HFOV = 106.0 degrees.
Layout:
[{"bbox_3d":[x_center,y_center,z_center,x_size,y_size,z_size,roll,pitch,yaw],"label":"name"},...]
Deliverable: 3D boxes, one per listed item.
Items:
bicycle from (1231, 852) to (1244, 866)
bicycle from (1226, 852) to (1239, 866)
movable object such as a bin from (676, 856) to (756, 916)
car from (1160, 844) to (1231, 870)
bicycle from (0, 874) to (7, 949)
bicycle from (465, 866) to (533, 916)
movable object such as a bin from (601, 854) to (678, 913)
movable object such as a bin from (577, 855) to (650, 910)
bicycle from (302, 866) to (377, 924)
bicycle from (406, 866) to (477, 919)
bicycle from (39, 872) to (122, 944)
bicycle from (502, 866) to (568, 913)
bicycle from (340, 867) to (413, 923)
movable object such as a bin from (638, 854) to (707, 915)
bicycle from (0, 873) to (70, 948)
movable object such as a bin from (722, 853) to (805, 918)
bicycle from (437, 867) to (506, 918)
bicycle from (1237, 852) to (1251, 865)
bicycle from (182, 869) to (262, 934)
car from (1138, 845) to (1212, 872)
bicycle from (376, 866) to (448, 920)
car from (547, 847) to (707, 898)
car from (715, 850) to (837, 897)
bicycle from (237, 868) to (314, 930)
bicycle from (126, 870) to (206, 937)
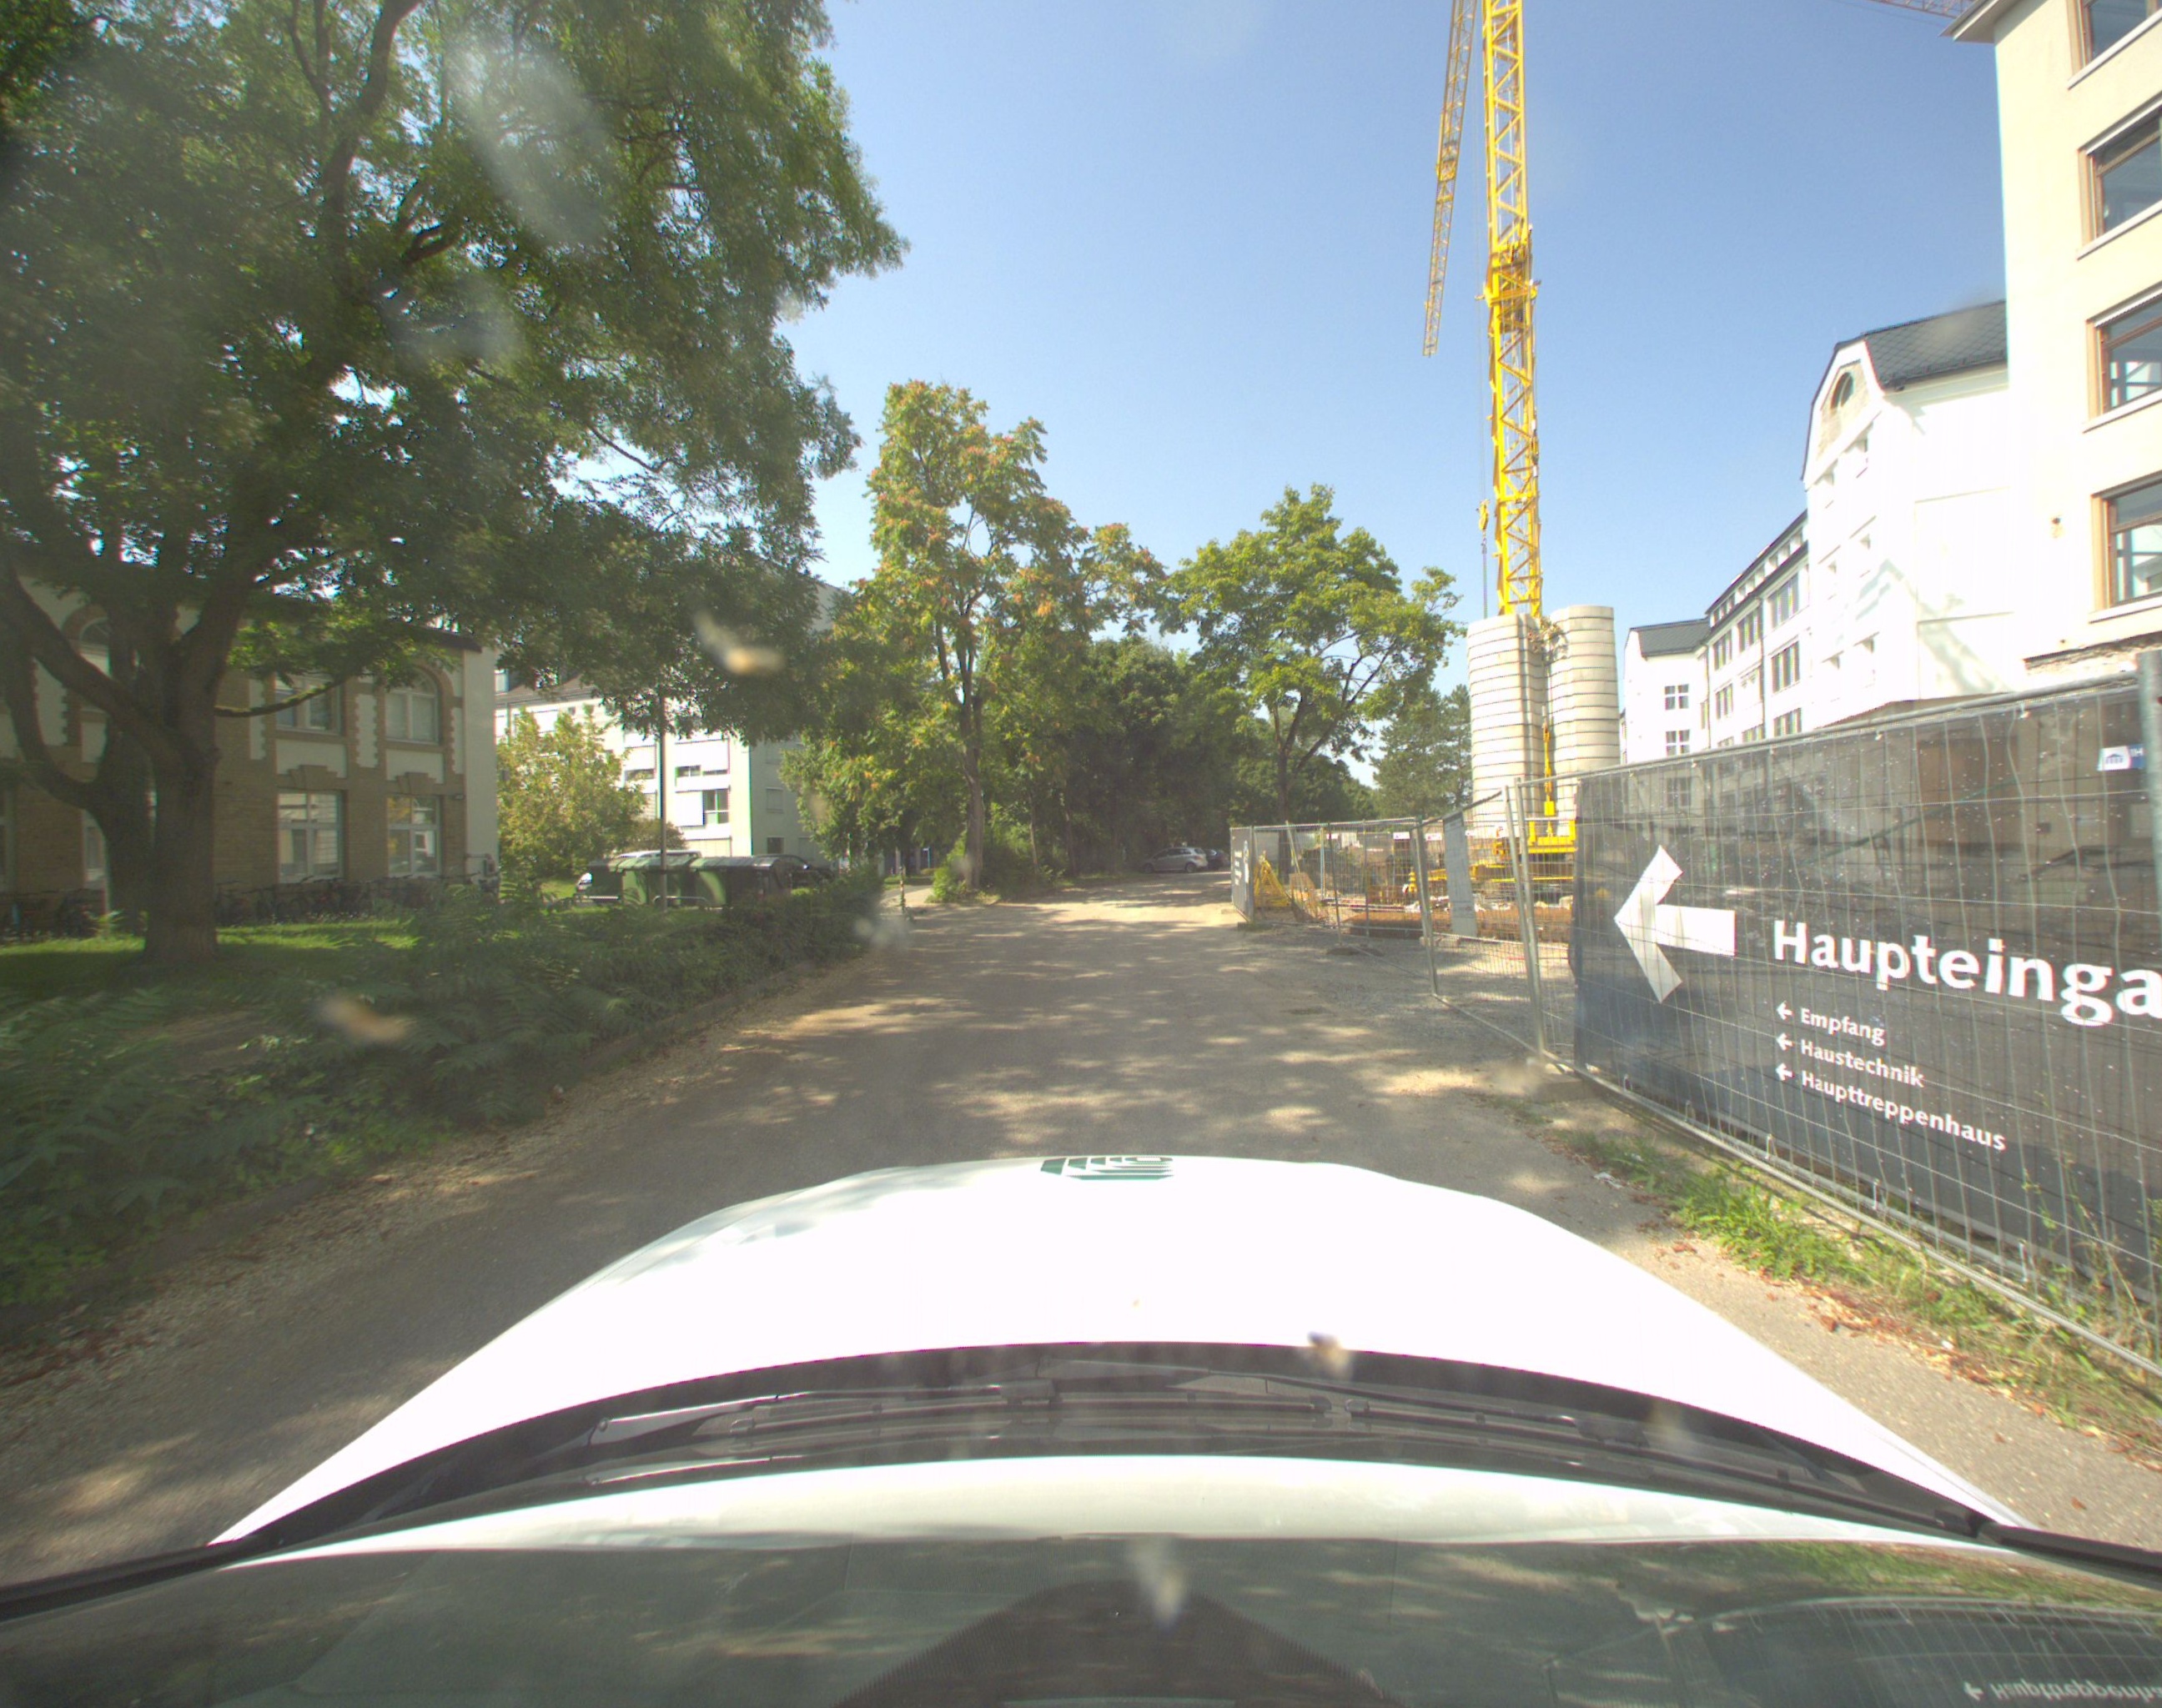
[{"bbox_3d":[12.982,0.385,67.515,0.494,1.107,1.811,0,0,30],"label":"bicycle"},{"bbox_3d":[12.190,0.397,65.479,0.494,1.107,1.811,0,0,30],"label":"bicycle"},{"bbox_3d":[-9.061,0.765,20.265,1.317,1.432,1.256,0,0,18],"label":"movable object such as a bin"},{"bbox_3d":[7.416,0.211,52.680,4.109,1.612,2.012,0,1,26],"label":"car"},{"bbox_3d":[-19.891,1.029,14.382,2.244,1.302,0.776,-2,-1,28],"label":"bicycle"},{"bbox_3d":[-16.003,1.022,22.392,2.146,1.302,0.613,-2,-1,28],"label":"bicycle"},{"bbox_3d":[-11.492,0.745,21.234,1.193,1.495,1.256,0,0,19],"label":"movable object such as a bin"},{"bbox_3d":[-12.827,0.767,22.396,1.193,1.444,1.256,0,0,19],"label":"movable object such as a bin"},{"bbox_3d":[-17.481,0.968,19.187,2.146,1.302,0.613,-2,-1,28],"label":"bicycle"},{"bbox_3d":[-16.626,0.997,21.158,2.146,1.302,0.613,-2,-1,28],"label":"bicycle"},{"bbox_3d":[-19.323,1.020,15.719,2.146,1.302,0.613,-2,-1,28],"label":"bicycle"},{"bbox_3d":[-15.643,1.016,23.331,2.146,1.302,0.613,-2,-1,28],"label":"bicycle"},{"bbox_3d":[-17.258,1.011,19.934,2.146,1.302,0.613,-2,-1,28],"label":"bicycle"},{"bbox_3d":[-10.276,0.753,20.509,1.089,1.481,1.106,0,0,19],"label":"movable object such as a bin"},{"bbox_3d":[-19.597,1.025,15.112,2.244,1.302,0.631,-2,-1,28],"label":"bicycle"},{"bbox_3d":[-7.622,0.729,19.623,1.360,1.493,1.340,0,0,11],"label":"movable object such as a bin"},{"bbox_3d":[-16.319,1.035,21.780,2.146,1.302,0.613,-2,-1,28],"label":"bicycle"},{"bbox_3d":[13.473,0.370,67.298,0.494,1.107,1.811,0,0,30],"label":"bicycle"},{"bbox_3d":[-18.387,1.002,17.417,2.146,1.302,0.613,-2,-1,28],"label":"bicycle"},{"bbox_3d":[5.807,0.260,50.525,4.109,1.612,2.012,0,1,26],"label":"car"},{"bbox_3d":[-16.851,0.975,20.498,2.146,1.302,0.613,-2,-1,28],"label":"bicycle"},{"bbox_3d":[-18.307,0.691,33.132,2.471,1.881,5.115,-1,0,28],"label":"car"},{"bbox_3d":[-11.010,0.666,29.666,1.685,1.528,3.937,-1,0,31],"label":"car"},{"bbox_3d":[-18.024,0.996,18.214,2.146,1.302,0.613,-2,-1,28],"label":"bicycle"},{"bbox_3d":[-18.901,1.014,16.810,2.146,1.302,0.613,-2,-1,28],"label":"bicycle"}]
